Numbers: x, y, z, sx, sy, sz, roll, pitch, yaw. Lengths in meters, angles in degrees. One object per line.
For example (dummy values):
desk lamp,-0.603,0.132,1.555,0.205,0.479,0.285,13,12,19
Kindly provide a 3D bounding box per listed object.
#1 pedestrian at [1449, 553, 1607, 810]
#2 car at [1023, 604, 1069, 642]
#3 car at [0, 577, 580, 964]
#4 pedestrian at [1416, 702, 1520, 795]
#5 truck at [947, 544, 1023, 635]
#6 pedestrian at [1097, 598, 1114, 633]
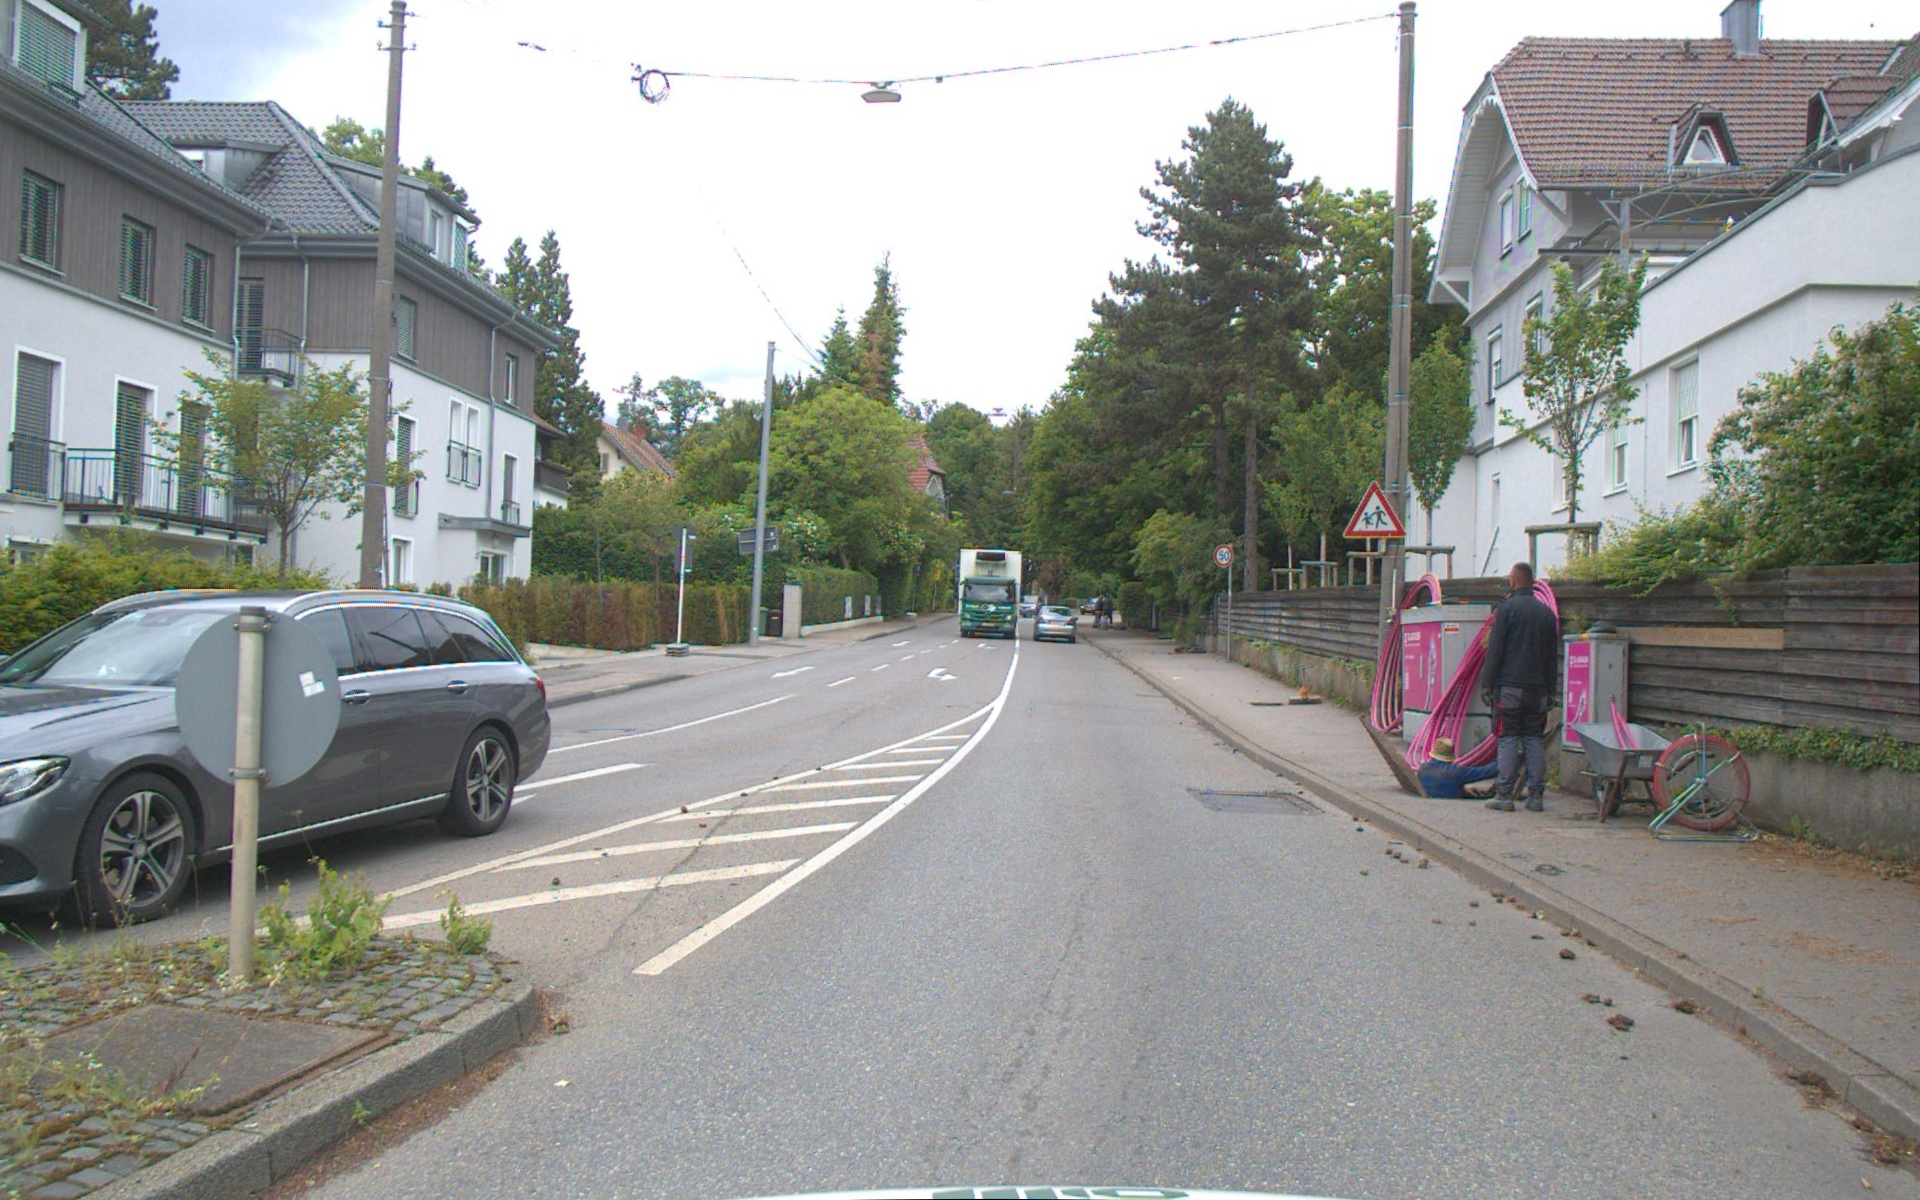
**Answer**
pedestrian,4.473,0.624,13.059,0.832,1.957,0.797,2,0,-17
car,3.509,0.939,67.204,1.759,1.440,4.337,2,-1,3
car,-4.008,0.651,8.955,1.786,1.511,4.751,1,0,15
pedestrian,4.324,1.253,14.089,0.640,0.709,0.577,2,0,-39
truck,0.972,-0.371,69.507,2.722,3.522,7.490,2,-1,-2
pedestrian,7.617,0.813,86.802,0.790,1.838,0.741,2,0,2
